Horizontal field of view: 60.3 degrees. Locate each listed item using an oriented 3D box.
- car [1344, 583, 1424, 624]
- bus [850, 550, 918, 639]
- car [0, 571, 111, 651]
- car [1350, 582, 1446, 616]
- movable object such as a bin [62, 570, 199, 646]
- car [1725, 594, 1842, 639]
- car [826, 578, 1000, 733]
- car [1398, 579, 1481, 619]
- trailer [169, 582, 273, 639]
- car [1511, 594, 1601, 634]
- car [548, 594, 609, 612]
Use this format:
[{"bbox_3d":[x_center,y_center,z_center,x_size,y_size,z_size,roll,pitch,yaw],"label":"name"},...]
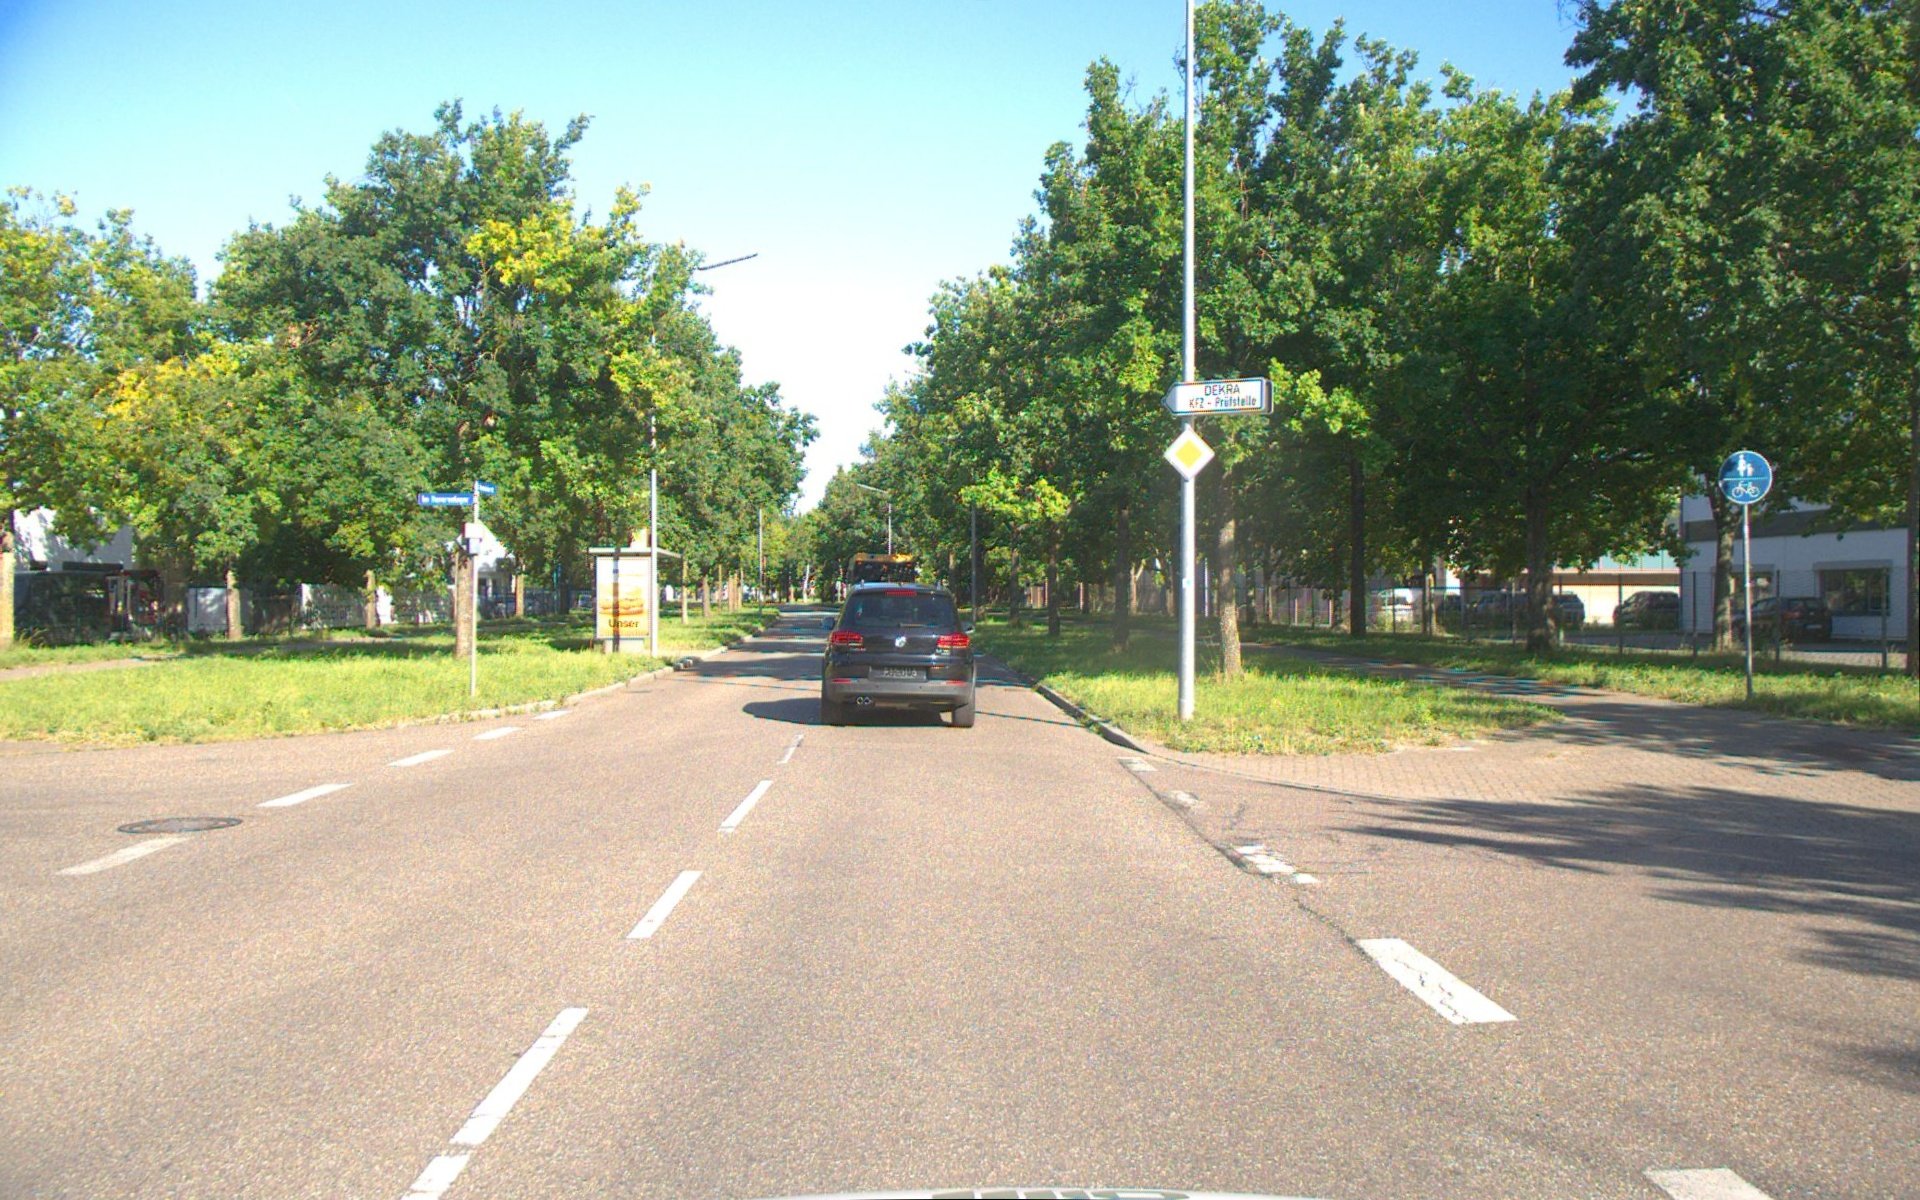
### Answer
[{"bbox_3d":[19.277,0.135,75.425,2.142,1.775,4.637,0,0,-5],"label":"car"},{"bbox_3d":[-3.313,-0.259,71.652,2.709,3.517,11.204,0,0,-3],"label":"bus"},{"bbox_3d":[-25.292,0.289,44.673,1.995,2.023,5.803,0,0,-3],"label":"car"},{"bbox_3d":[23.614,-0.060,89.225,4.541,1.775,2.187,0,0,-10],"label":"car"},{"bbox_3d":[-25.500,0.227,51.044,2.060,2.256,4.459,0,0,-2],"label":"movable object such as a bin"},{"bbox_3d":[26.915,0.500,54.205,1.730,1.408,3.763,0,0,-5],"label":"car"},{"bbox_3d":[-0.654,0.598,20.605,1.898,1.685,4.424,1,0,-4],"label":"car"},{"bbox_3d":[21.856,-0.074,75.528,2.142,1.775,4.637,0,0,-5],"label":"car"},{"bbox_3d":[-25.940,0.349,58.164,2.060,1.948,3.739,0,0,-2],"label":"trailer"},{"bbox_3d":[27.411,0.627,76.229,2.142,1.775,4.637,0,0,-5],"label":"car"},{"bbox_3d":[-28.786,0.254,124.990,4.111,1.344,1.942,0,0,1],"label":"car"}]
